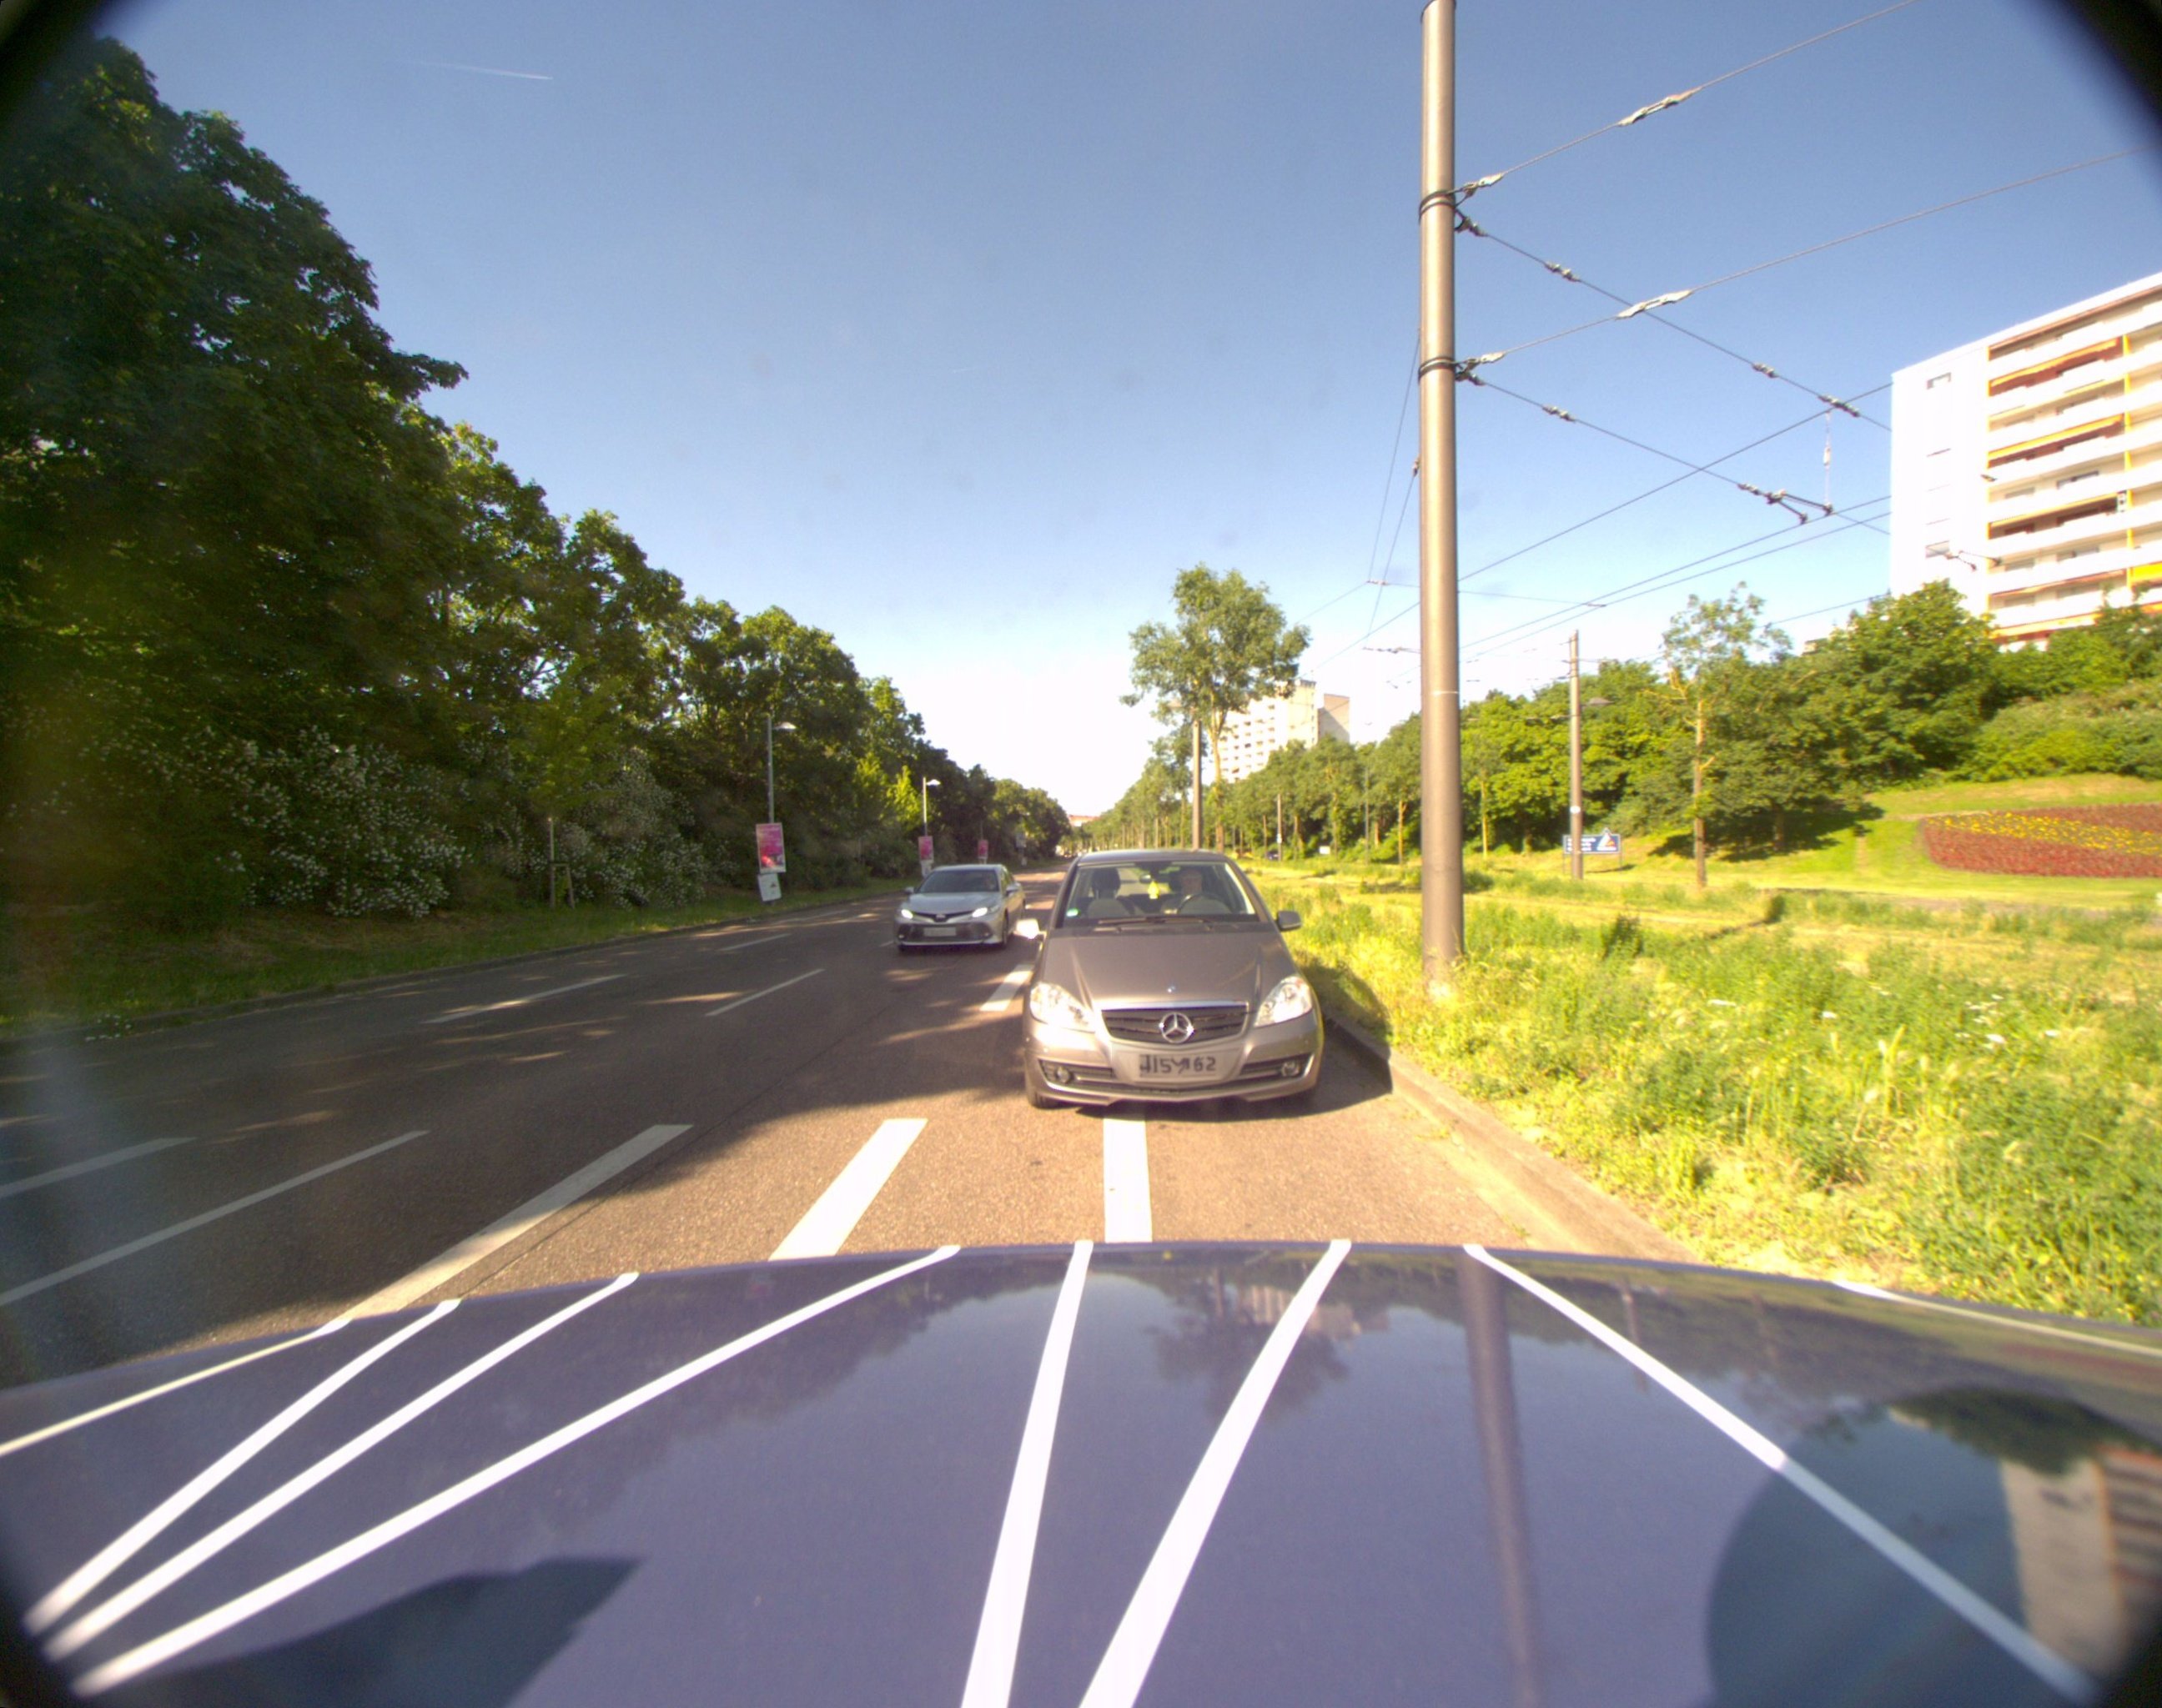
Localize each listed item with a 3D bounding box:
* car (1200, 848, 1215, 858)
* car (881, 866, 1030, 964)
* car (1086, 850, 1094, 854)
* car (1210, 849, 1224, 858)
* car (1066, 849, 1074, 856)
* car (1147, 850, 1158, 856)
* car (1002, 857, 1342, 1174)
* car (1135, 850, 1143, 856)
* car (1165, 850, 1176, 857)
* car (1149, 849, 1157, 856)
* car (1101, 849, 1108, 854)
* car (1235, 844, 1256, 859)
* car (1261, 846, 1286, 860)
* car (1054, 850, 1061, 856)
[{"bbox_3d":[19.089,-0.107,114.910,1.693,1.399,4.021,-1,0,1],"label":"car"},{"bbox_3d":[-2.131,0.992,14.254,1.875,1.428,4.594,-1,0,2],"label":"car"},{"bbox_3d":[3.039,-0.703,251.714,1.804,1.455,3.996,0,1,-10],"label":"car"},{"bbox_3d":[21.822,-0.144,122.014,1.780,1.368,4.001,-1,0,3],"label":"car"},{"bbox_3d":[-2.821,-0.386,194.823,1.998,1.702,4.000,-1,0,1],"label":"car"},{"bbox_3d":[16.067,-0.272,171.358,1.800,1.408,4.308,-1,0,-3],"label":"car"},{"bbox_3d":[0.505,0.859,5.922,1.759,1.612,3.880,-1,0,1],"label":"car"},{"bbox_3d":[14.243,-0.265,186.408,1.792,1.499,4.240,-1,0,1],"label":"car"},{"bbox_3d":[17.338,-0.123,146.752,1.799,1.408,4.310,-1,0,2],"label":"car"},{"bbox_3d":[17.481,-0.361,185.241,1.792,1.499,4.241,-1,0,3],"label":"car"},{"bbox_3d":[7.649,-0.830,247.851,1.804,1.455,3.996,0,1,-9],"label":"car"},{"bbox_3d":[22.691,-0.345,104.976,1.998,1.955,4.907,-1,0,1],"label":"car"},{"bbox_3d":[22.820,-0.127,90.289,1.998,1.565,4.106,-1,0,1],"label":"car"},{"bbox_3d":[-7.002,-0.422,225.656,1.998,1.702,4.000,-1,0,1],"label":"car"}]
